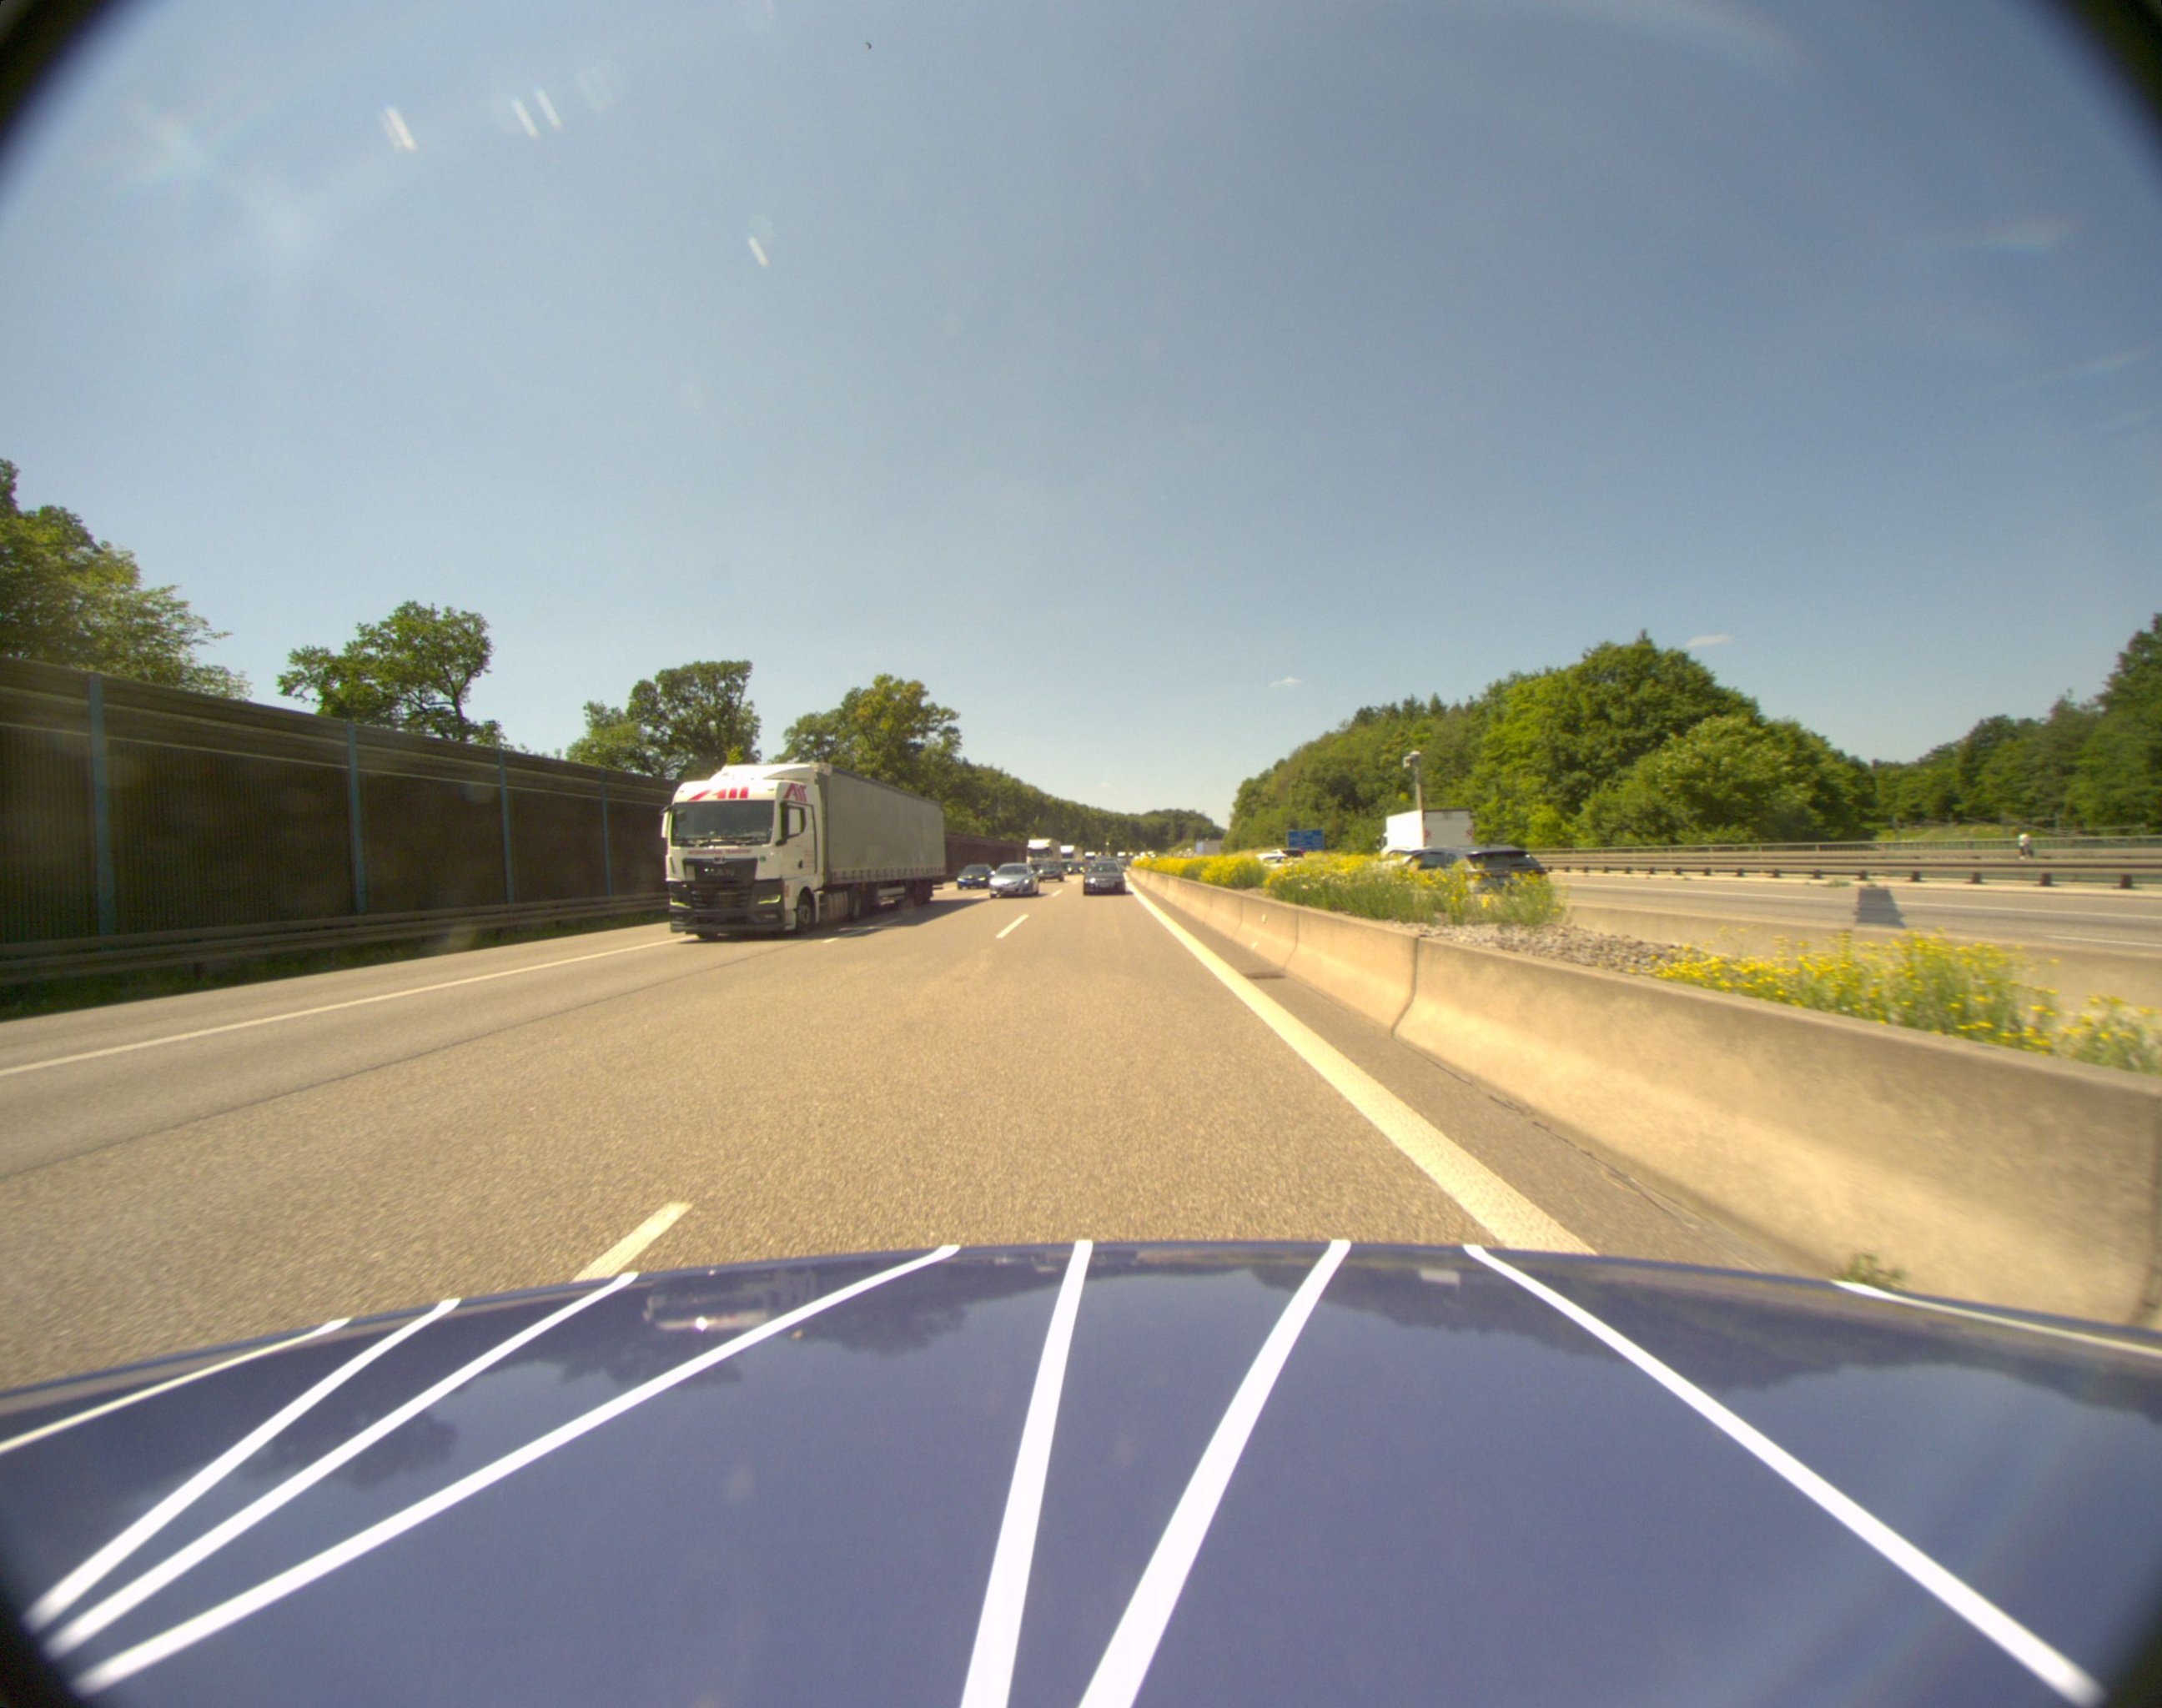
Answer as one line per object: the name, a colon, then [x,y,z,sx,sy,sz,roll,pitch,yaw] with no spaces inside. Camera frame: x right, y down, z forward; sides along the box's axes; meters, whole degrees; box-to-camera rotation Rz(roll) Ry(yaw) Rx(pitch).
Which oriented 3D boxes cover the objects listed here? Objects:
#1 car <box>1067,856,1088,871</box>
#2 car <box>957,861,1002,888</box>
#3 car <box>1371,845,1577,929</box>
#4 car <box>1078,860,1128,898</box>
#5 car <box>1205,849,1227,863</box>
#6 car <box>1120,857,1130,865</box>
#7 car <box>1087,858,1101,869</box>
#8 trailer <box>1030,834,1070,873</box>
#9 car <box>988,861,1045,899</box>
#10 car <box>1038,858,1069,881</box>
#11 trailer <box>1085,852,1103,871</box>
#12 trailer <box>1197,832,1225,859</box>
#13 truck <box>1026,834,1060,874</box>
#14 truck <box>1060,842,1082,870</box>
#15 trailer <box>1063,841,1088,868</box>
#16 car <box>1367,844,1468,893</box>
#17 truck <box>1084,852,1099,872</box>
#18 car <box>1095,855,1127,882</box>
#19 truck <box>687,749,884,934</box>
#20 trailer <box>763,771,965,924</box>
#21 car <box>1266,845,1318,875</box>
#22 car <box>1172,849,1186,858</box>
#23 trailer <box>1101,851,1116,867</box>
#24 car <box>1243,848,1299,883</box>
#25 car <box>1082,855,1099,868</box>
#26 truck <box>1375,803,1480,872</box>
car: [-0.322,1.048,84.879,1.998,1.641,4.001,-2,0,4]
car: [-6.110,1.205,46.007,1.860,1.484,4.178,-2,0,3]
car: [7.556,0.560,15.201,1.736,1.397,4.611,-1,0,0]
car: [0.956,0.996,31.809,1.907,1.410,4.001,-2,0,2]
car: [14.887,0.216,83.958,1.790,1.535,4.157,-2,0,2]
car: [9.237,1.482,159.908,1.998,1.641,4.001,-2,0,4]
car: [2.114,1.488,123.029,1.998,1.641,4.001,-2,0,4]
trailer: [-3.529,-0.022,91.270,2.820,4.190,13.470,-2,0,5]
car: [-2.734,1.085,33.110,1.860,1.426,4.178,-2,0,3]
car: [-1.970,1.140,55.743,1.907,1.550,4.001,-2,0,2]
trailer: [3.155,1.739,180.626,2.853,4.391,13.033,-2,0,6]
trailer: [19.725,-1.233,115.953,2.787,3.834,10.171,-2,0,2]
truck: [-4.171,-0.033,84.433,2.811,4.190,5.423,-2,0,5]
truck: [-1.566,0.318,118.610,2.544,4.149,4.748,-2,0,7]
trailer: [-0.857,0.072,123.987,2.541,4.149,10.182,-2,0,8]
car: [11.622,0.460,26.550,1.847,1.537,4.000,-2,0,2]
truck: [2.381,1.728,173.138,2.853,4.381,5.241,-2,0,6]
car: [2.038,0.932,51.175,1.998,1.641,4.000,-2,0,3]
truck: [-7.306,-0.284,19.729,2.604,4.066,5.553,-2,0,3]
trailer: [-6.938,-0.201,27.427,2.604,4.066,13.593,-2,0,3]
car: [12.828,0.338,46.474,1.998,1.691,4.531,-2,0,2]
car: [18.465,-0.038,143.329,1.998,1.552,4.640,-2,0,2]
trailer: [7.490,1.362,207.546,3.154,4.061,6.186,-2,0,9]
car: [8.433,0.486,33.983,1.636,1.419,4.037,-2,0,2]
car: [1.267,1.048,103.317,1.998,1.641,4.001,-2,0,4]
truck: [19.355,-0.854,42.999,2.742,3.454,7.316,-2,0,2]
